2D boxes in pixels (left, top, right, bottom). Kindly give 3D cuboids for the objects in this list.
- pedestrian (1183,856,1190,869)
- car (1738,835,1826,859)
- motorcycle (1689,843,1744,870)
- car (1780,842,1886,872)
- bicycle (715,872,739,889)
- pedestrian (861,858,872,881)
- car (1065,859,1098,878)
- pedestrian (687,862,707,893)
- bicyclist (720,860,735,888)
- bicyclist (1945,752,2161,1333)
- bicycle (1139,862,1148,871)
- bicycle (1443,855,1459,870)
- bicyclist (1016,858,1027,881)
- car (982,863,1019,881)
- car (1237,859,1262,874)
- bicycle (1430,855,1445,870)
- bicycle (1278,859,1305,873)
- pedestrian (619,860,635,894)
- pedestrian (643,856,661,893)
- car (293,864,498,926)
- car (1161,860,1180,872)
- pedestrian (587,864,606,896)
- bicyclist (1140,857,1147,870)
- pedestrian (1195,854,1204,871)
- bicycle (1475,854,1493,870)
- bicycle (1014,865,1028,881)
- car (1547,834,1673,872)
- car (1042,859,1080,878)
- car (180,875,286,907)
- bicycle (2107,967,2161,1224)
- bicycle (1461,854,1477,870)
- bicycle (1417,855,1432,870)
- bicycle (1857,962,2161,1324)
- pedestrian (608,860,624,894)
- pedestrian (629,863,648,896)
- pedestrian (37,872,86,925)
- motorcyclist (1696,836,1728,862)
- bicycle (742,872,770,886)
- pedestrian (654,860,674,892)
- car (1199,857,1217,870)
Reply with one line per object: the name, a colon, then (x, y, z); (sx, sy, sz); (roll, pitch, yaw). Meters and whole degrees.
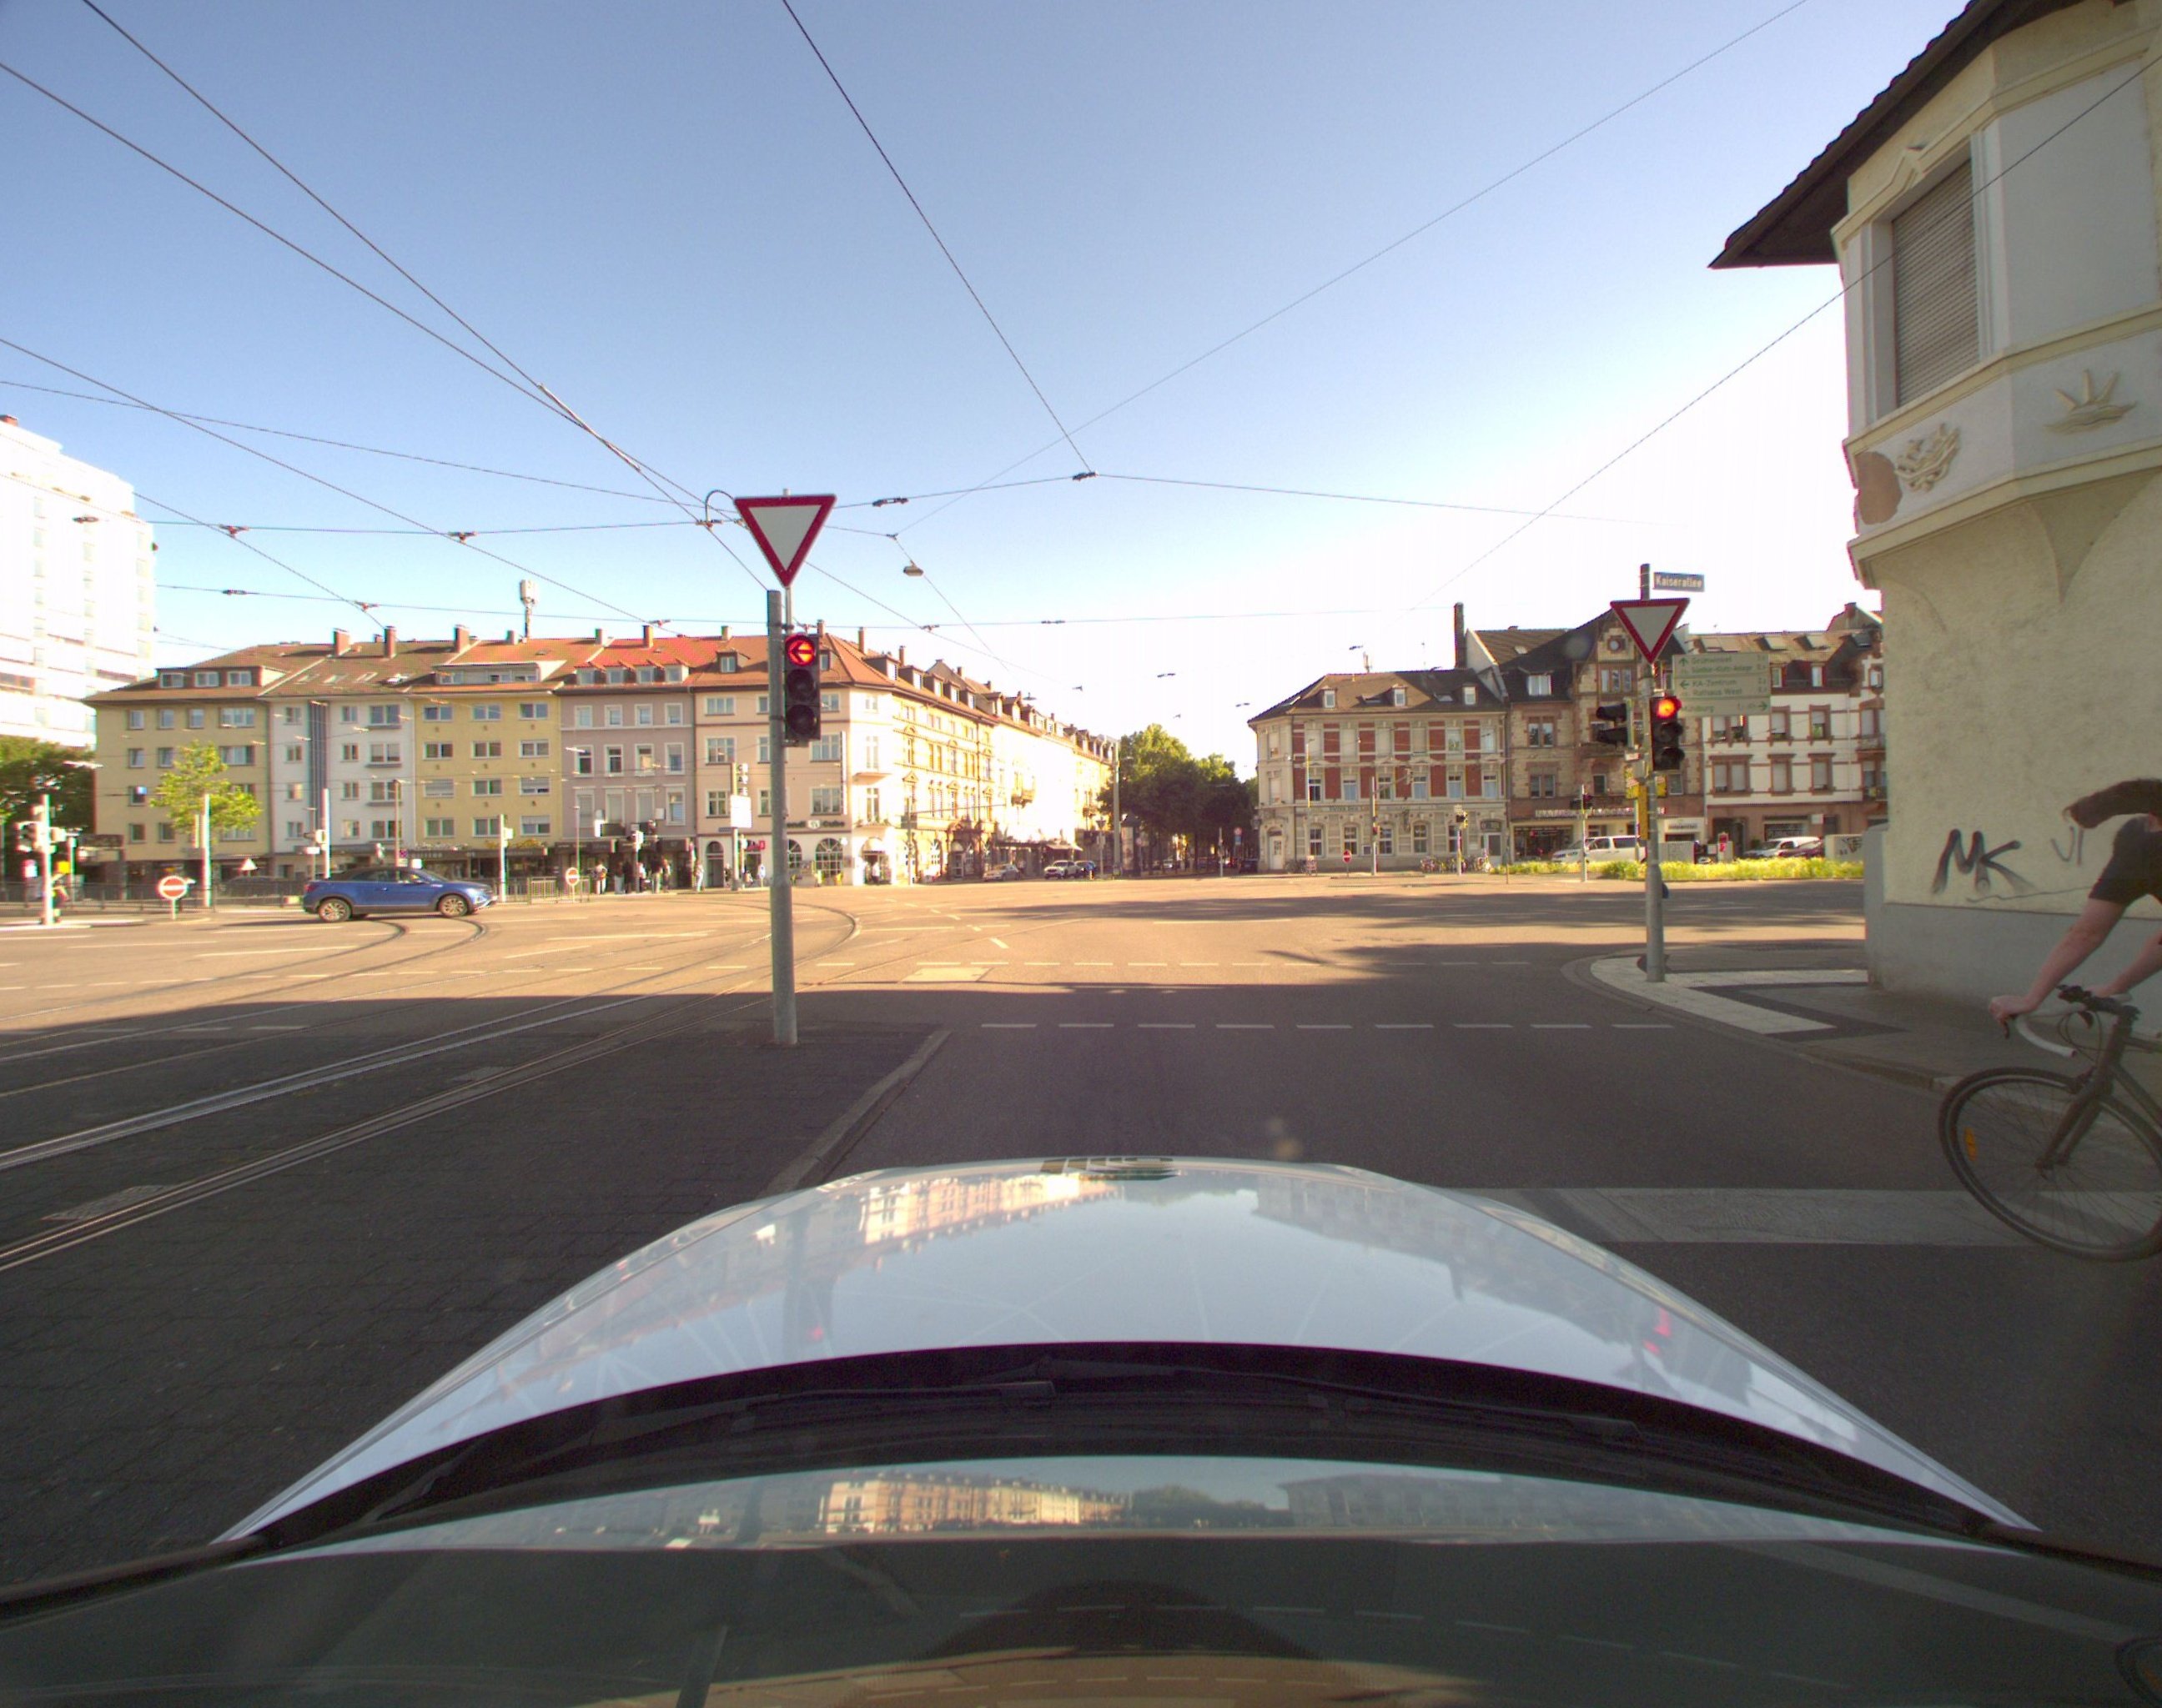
pedestrian: (16.392, 1.266, 126.755); (0.936, 2.014, 0.830); (-1, -1, 16)
car: (45.123, -0.442, 52.453); (3.961, 1.438, 1.874); (0, -1, 5)
motorcycle: (32.371, 0.125, 41.517); (2.124, 1.333, 0.798); (0, -1, 6)
car: (37.960, 0.121, 41.152); (3.854, 1.426, 1.596); (-1, 0, 2)
bicycle: (-22.999, 1.699, 52.962); (0.618, 1.030, 1.758); (0, -1, 7)
pedestrian: (-15.578, 1.104, 59.256); (0.492, 1.676, 0.592); (-1, -1, 44)
car: (0.064, 1.290, 73.786); (1.809, 1.685, 3.893); (-1, -1, 18)
pedestrian: (-19.812, 1.203, 42.023); (0.666, 1.594, 0.815); (0, -1, 1)
bicyclist: (-22.998, 1.305, 53.002); (0.618, 1.790, 0.616); (0, -1, 7)
bicyclist: (3.580, 0.574, 2.624); (0.587, 1.767, 0.936); (0, -1, 2)
bicycle: (8.194, 1.643, 106.545); (0.668, 1.207, 1.831); (-1, -1, 20)
bicycle: (24.041, 0.562, 52.981); (0.758, 0.983, 2.221); (-1, -1, 20)
bicyclist: (-4.797, 1.216, 65.332); (0.561, 1.804, 0.918); (-1, -1, 17)
car: (-6.627, 1.475, 67.351); (1.647, 1.374, 3.909); (-1, -1, 17)
car: (17.043, 1.255, 82.280); (1.741, 1.556, 4.021); (-1, -1, 22)
bicycle: (23.255, 0.569, 53.104); (0.758, 0.968, 2.221); (-1, -1, 20)
bicycle: (14.703, 0.828, 56.931); (1.789, 0.963, 0.606); (-1, -1, 16)
pedestrian: (-22.576, 1.139, 40.497); (0.520, 1.648, 0.498); (0, -1, 1)
pedestrian: (-21.596, 1.033, 41.036); (0.525, 1.823, 0.677); (0, -1, 1)
car: (-19.810, 1.124, 23.795); (4.206, 1.575, 1.816); (-1, 0, -25)
car: (12.185, 1.668, 110.482); (1.788, 1.575, 3.908); (-1, -1, 17)
pedestrian: (-25.072, 1.320, 42.128); (0.582, 1.648, 0.616); (0, -1, 1)
bicyclist: (8.191, 1.241, 106.552); (0.668, 1.568, 0.751); (-1, -1, 20)
pedestrian: (14.737, 1.042, 101.569); (0.959, 2.014, 0.917); (0, -1, -4)
bicycle: (26.041, 0.532, 52.682); (0.785, 1.016, 2.221); (-1, -1, 20)
bicycle: (-4.788, 1.488, 65.321); (0.561, 1.254, 1.564); (-1, -1, 17)
car: (27.097, -0.050, 41.850); (5.180, 1.854, 2.001); (-1, 0, 1)
car: (-1.648, 1.179, 67.476); (1.788, 1.585, 4.179); (-1, -1, 19)
car: (-49.255, 2.115, 47.344); (4.213, 1.773, 1.818); (0, -1, 1)
bicycle: (4.455, 0.950, 2.457); (0.501, 0.983, 1.783); (0, -1, 2)
bicycle: (25.192, 0.541, 52.909); (0.758, 1.007, 2.231); (-1, -1, 20)
bicycle: (22.499, 0.576, 53.371); (0.758, 0.963, 2.221); (-1, -1, 20)
bicycle: (3.585, 0.959, 2.636); (0.480, 0.991, 1.783); (0, -1, 2)
pedestrian: (-23.190, 1.144, 40.613); (0.520, 1.648, 0.498); (0, -1, 1)
pedestrian: (-22.938, 1.314, 42.258); (0.571, 1.648, 0.727); (0, -1, 1)
pedestrian: (-31.690, 1.367, 25.311); (0.606, 1.609, 0.769); (-1, -1, 18)
motorcyclist: (32.197, -0.239, 41.541); (1.009, 1.300, 0.790); (0, -1, 6)
bicycle: (-22.994, 1.755, 57.613); (1.694, 0.983, 0.611); (0, -1, 1)
pedestrian: (-21.552, 1.113, 42.059); (0.580, 1.648, 0.840); (0, -1, 1)
car: (18.090, 1.348, 116.211); (1.978, 1.684, 4.018); (-1, -1, 17)
